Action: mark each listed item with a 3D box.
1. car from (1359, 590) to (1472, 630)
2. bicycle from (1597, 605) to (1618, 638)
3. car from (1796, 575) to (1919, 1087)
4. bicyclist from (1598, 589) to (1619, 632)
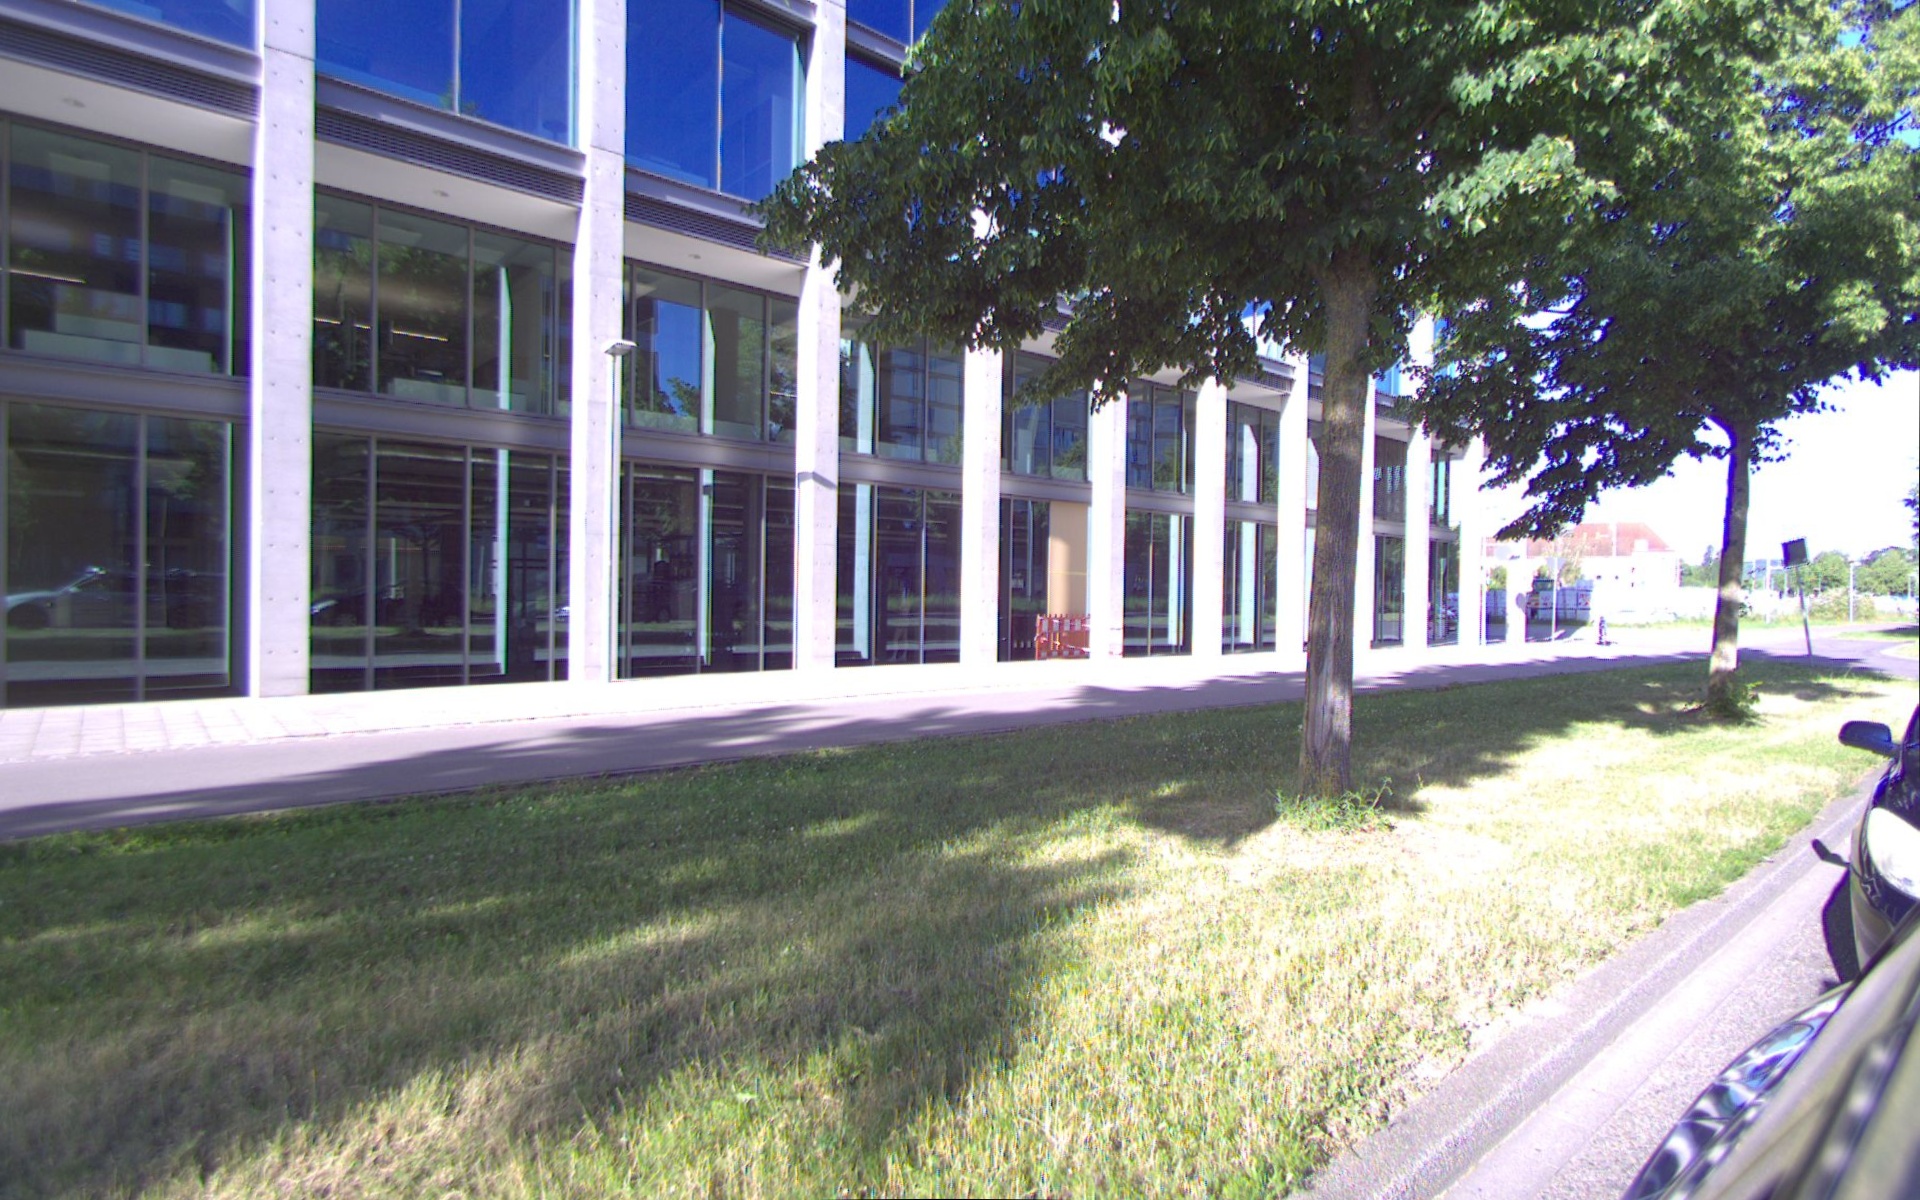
[{"bbox_3d":[19.519,0.387,43.492,1.963,1.598,3.997,0,1,-38],"label":"car"},{"bbox_3d":[24.207,0.792,37.831,0.587,1.170,1.904,3,2,33],"label":"bicycle"},{"bbox_3d":[4.889,0.685,3.922,4.403,1.500,1.845,0,1,-41],"label":"car"},{"bbox_3d":[24.223,0.371,37.816,0.588,1.558,0.691,3,1,34],"label":"bicyclist"}]
